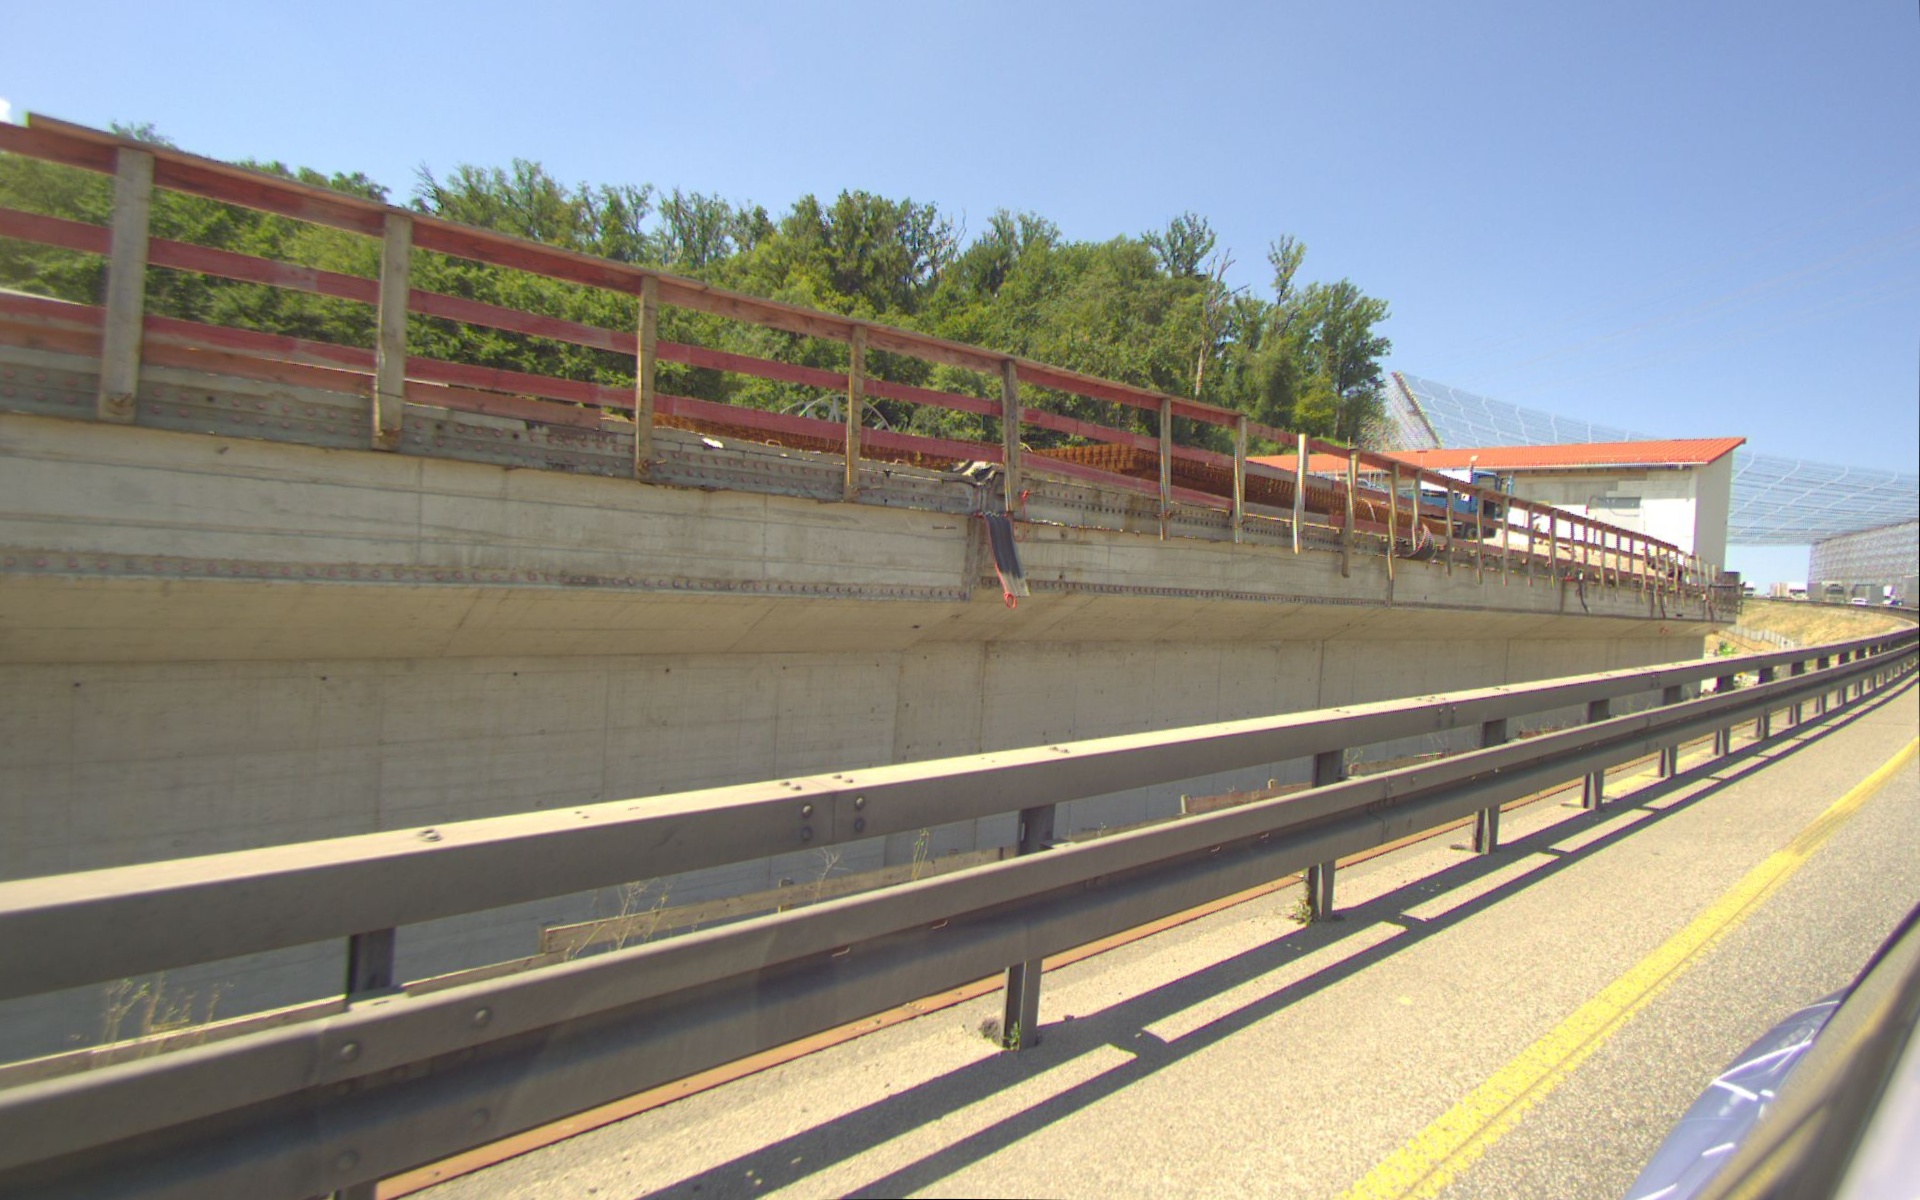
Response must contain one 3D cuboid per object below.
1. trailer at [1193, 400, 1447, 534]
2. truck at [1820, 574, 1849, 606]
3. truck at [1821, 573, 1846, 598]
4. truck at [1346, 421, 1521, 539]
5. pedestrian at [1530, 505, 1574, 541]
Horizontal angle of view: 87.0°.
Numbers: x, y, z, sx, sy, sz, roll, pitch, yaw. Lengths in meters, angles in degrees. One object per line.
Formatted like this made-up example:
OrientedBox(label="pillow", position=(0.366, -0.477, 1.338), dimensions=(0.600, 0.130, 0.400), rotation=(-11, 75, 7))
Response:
OrientedBox(label="trailer", position=(13.076, -4.653, 36.706), dimensions=(8.806, 3.741, 2.725), rotation=(3, 0, -20))
OrientedBox(label="truck", position=(135.121, -1.577, 156.460), dimensions=(3.029, 4.865, 8.816), rotation=(1, 1, 39))
OrientedBox(label="truck", position=(150.115, -2.552, 173.980), dimensions=(3.028, 4.107, 8.554), rotation=(1, 1, 39))
OrientedBox(label="truck", position=(17.994, -4.427, 38.525), dimensions=(5.590, 3.741, 2.725), rotation=(3, 0, -20))
OrientedBox(label="pedestrian", position=(20.518, -2.669, 35.065), dimensions=(0.976, 1.165, 1.022), rotation=(-1, 1, -37))
